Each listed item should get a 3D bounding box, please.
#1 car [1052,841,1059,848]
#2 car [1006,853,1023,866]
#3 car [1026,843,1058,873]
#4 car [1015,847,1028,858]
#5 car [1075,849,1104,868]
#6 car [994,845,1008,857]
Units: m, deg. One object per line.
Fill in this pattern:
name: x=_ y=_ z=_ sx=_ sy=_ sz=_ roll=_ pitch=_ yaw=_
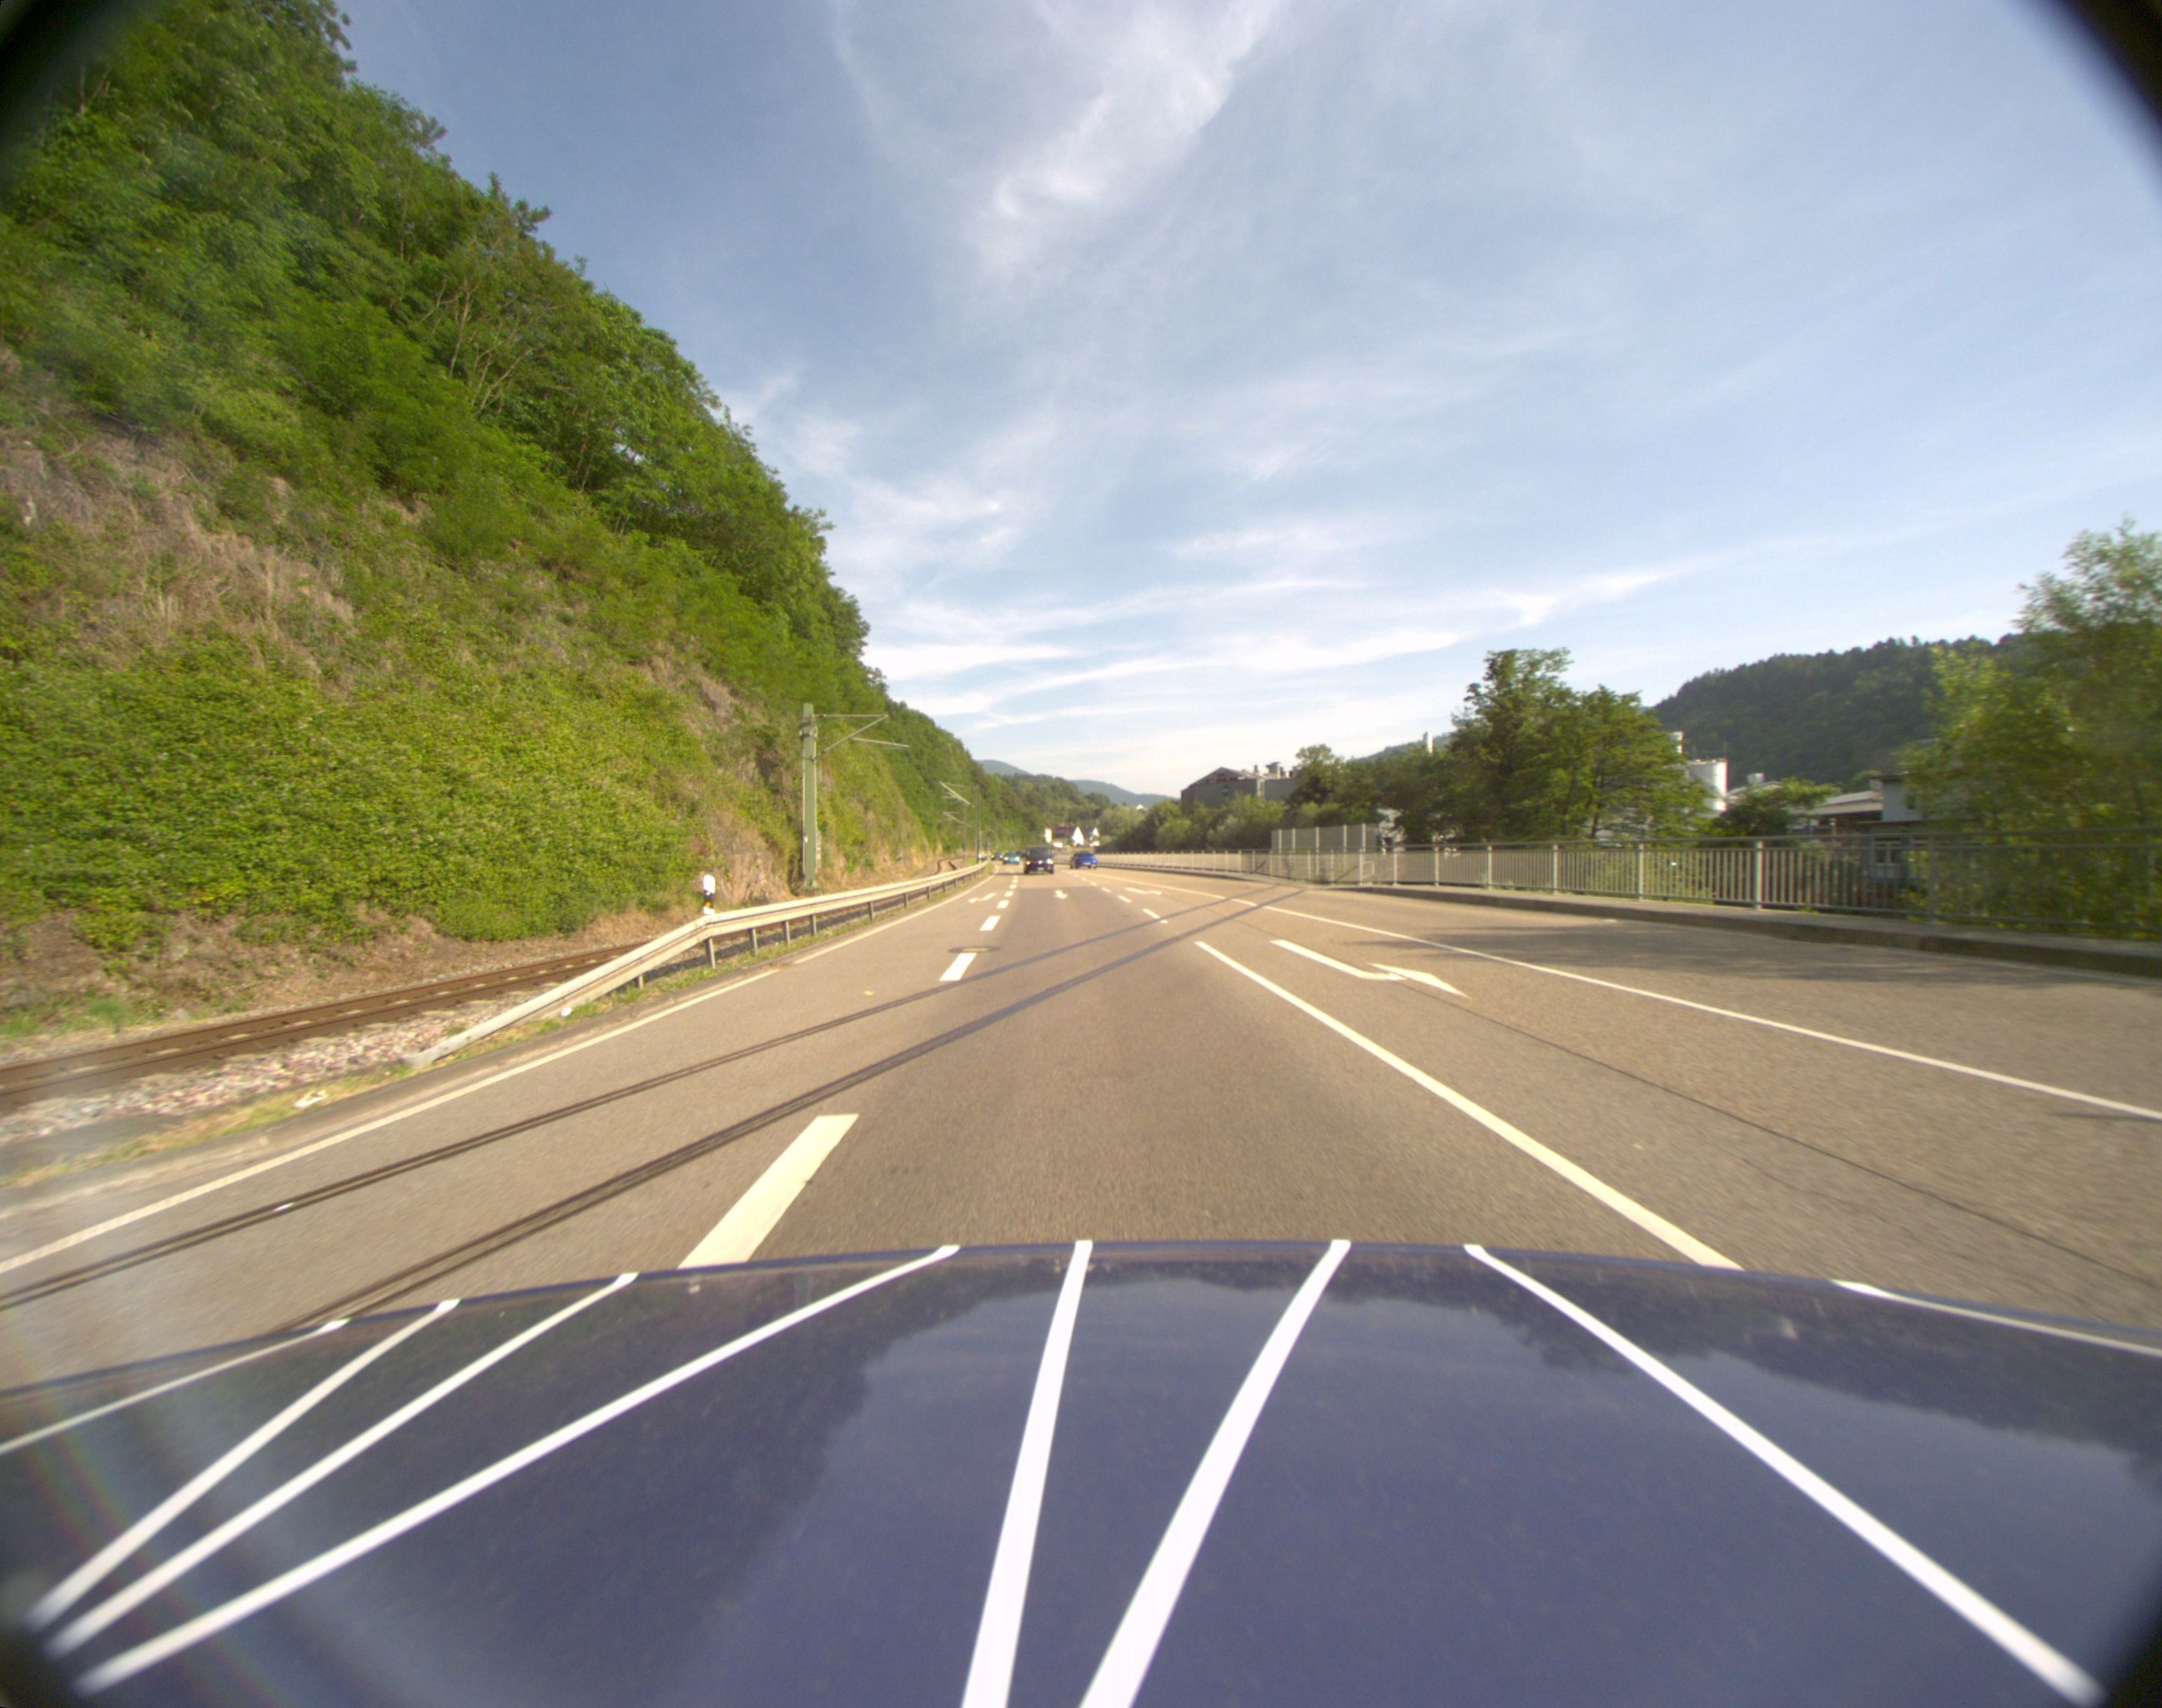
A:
car: x=-7.308 y=-2.693 z=216.998 sx=1.999 sy=2.002 sz=3.998 roll=-2 pitch=1 yaw=-3
car: x=-7.864 y=0.638 z=89.381 sx=1.769 sy=1.452 sz=3.573 roll=0 pitch=2 yaw=-8
car: x=-2.734 y=0.275 z=51.984 sx=1.909 sy=1.868 sz=4.346 roll=-4 pitch=0 yaw=-5
car: x=-10.672 y=-0.310 z=135.122 sx=1.797 sy=1.817 sz=4.824 roll=-3 pitch=1 yaw=-9
car: x=0.684 y=0.332 z=62.999 sx=1.788 sy=1.473 sz=4.522 roll=-2 pitch=1 yaw=-8
car: x=-13.052 y=-0.469 z=124.024 sx=2.000 sy=1.783 sz=3.996 roll=-2 pitch=1 yaw=-10
